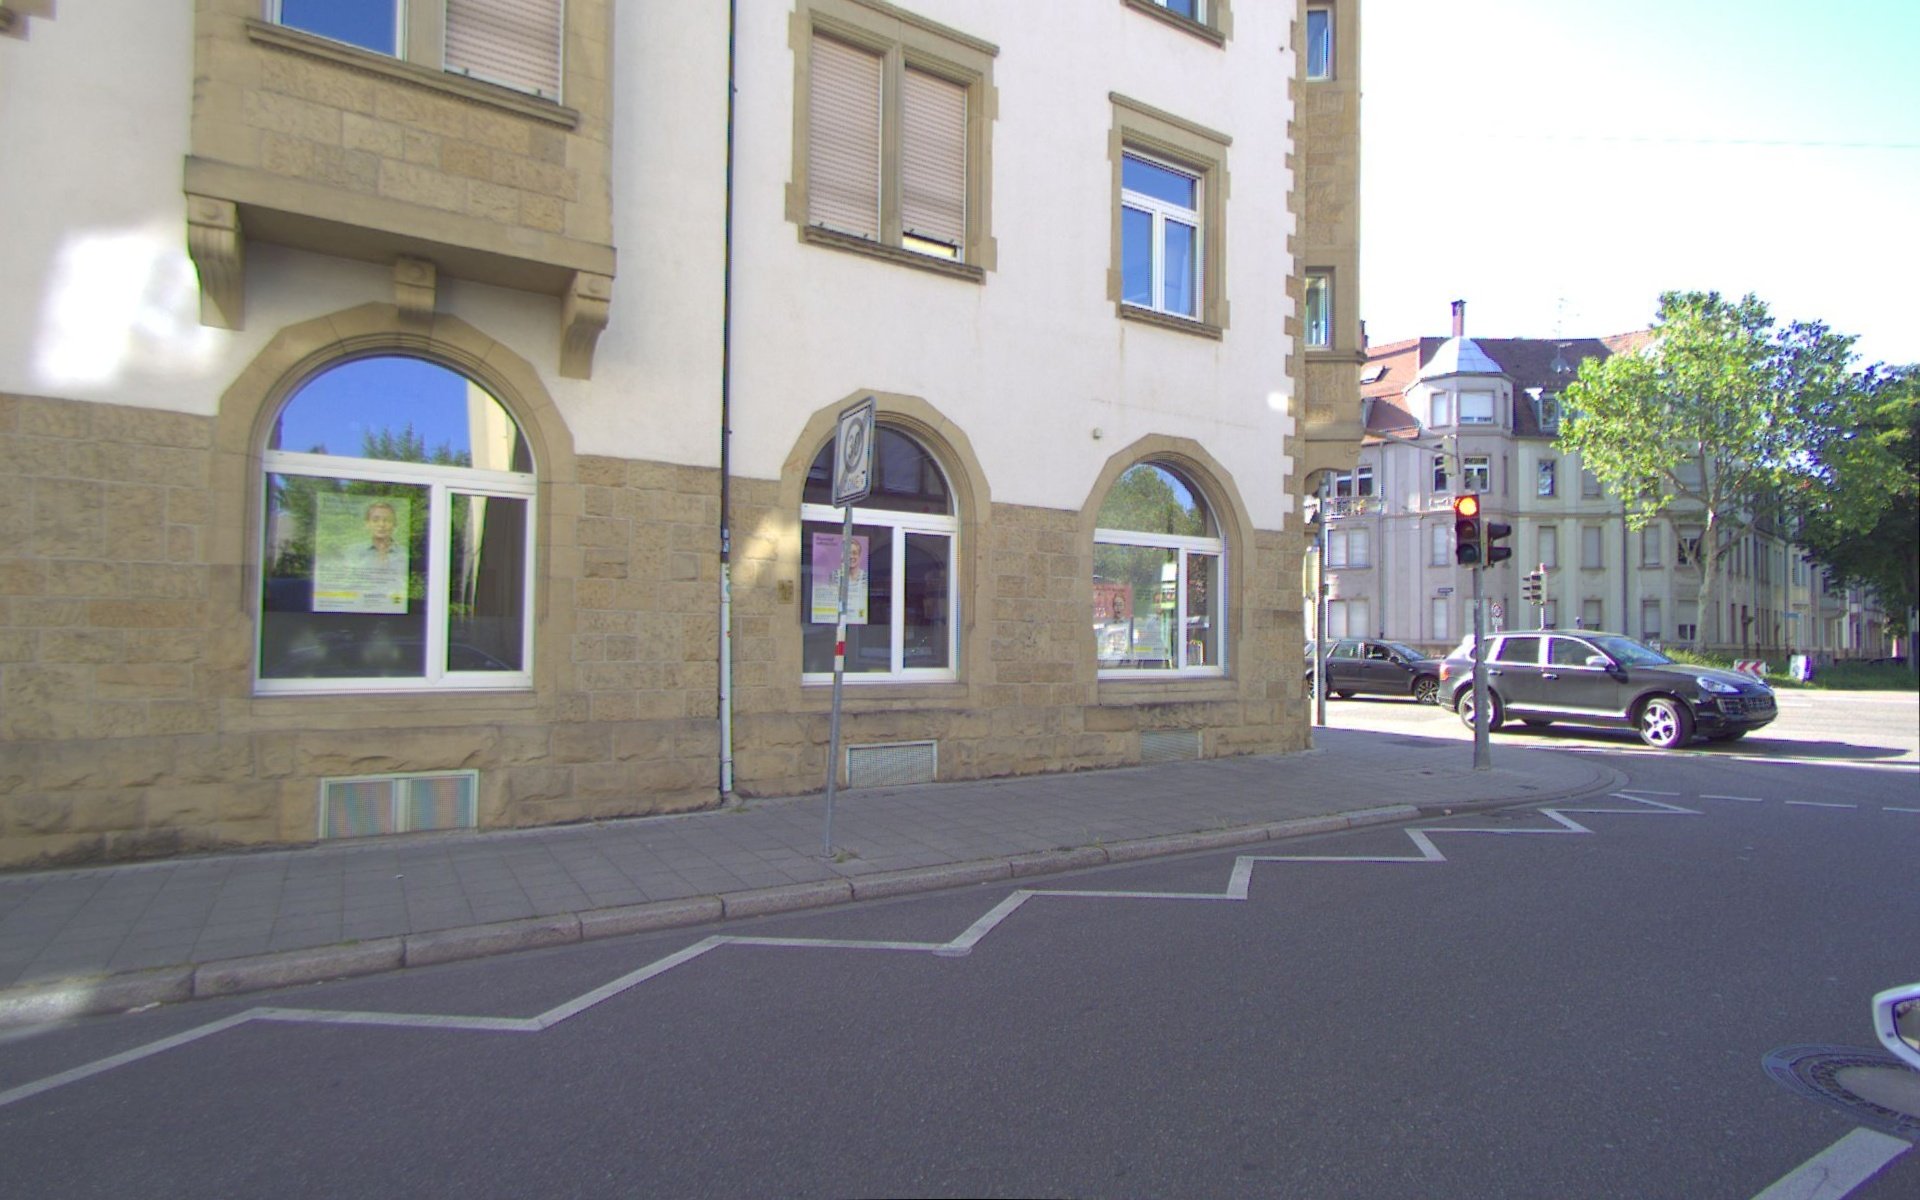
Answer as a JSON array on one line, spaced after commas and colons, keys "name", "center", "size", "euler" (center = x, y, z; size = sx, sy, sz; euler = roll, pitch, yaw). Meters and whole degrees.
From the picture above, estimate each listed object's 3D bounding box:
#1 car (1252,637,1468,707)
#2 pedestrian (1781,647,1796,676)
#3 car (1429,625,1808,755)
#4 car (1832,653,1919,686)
[{"name": "car", "center": [9.590, 1.669, 24.352], "size": [1.719, 1.476, 4.572], "euler": [2, -2, -44]}, {"name": "pedestrian", "center": [42.051, 3.120, 50.972], "size": [0.483, 1.461, 0.701], "euler": [2, 0, 44]}, {"name": "car", "center": [10.316, 1.295, 16.166], "size": [2.055, 1.716, 4.672], "euler": [-1, -1, -30]}, {"name": "car", "center": [45.449, 3.406, 49.500], "size": [1.647, 1.476, 3.595], "euler": [2, -2, -44]}]
